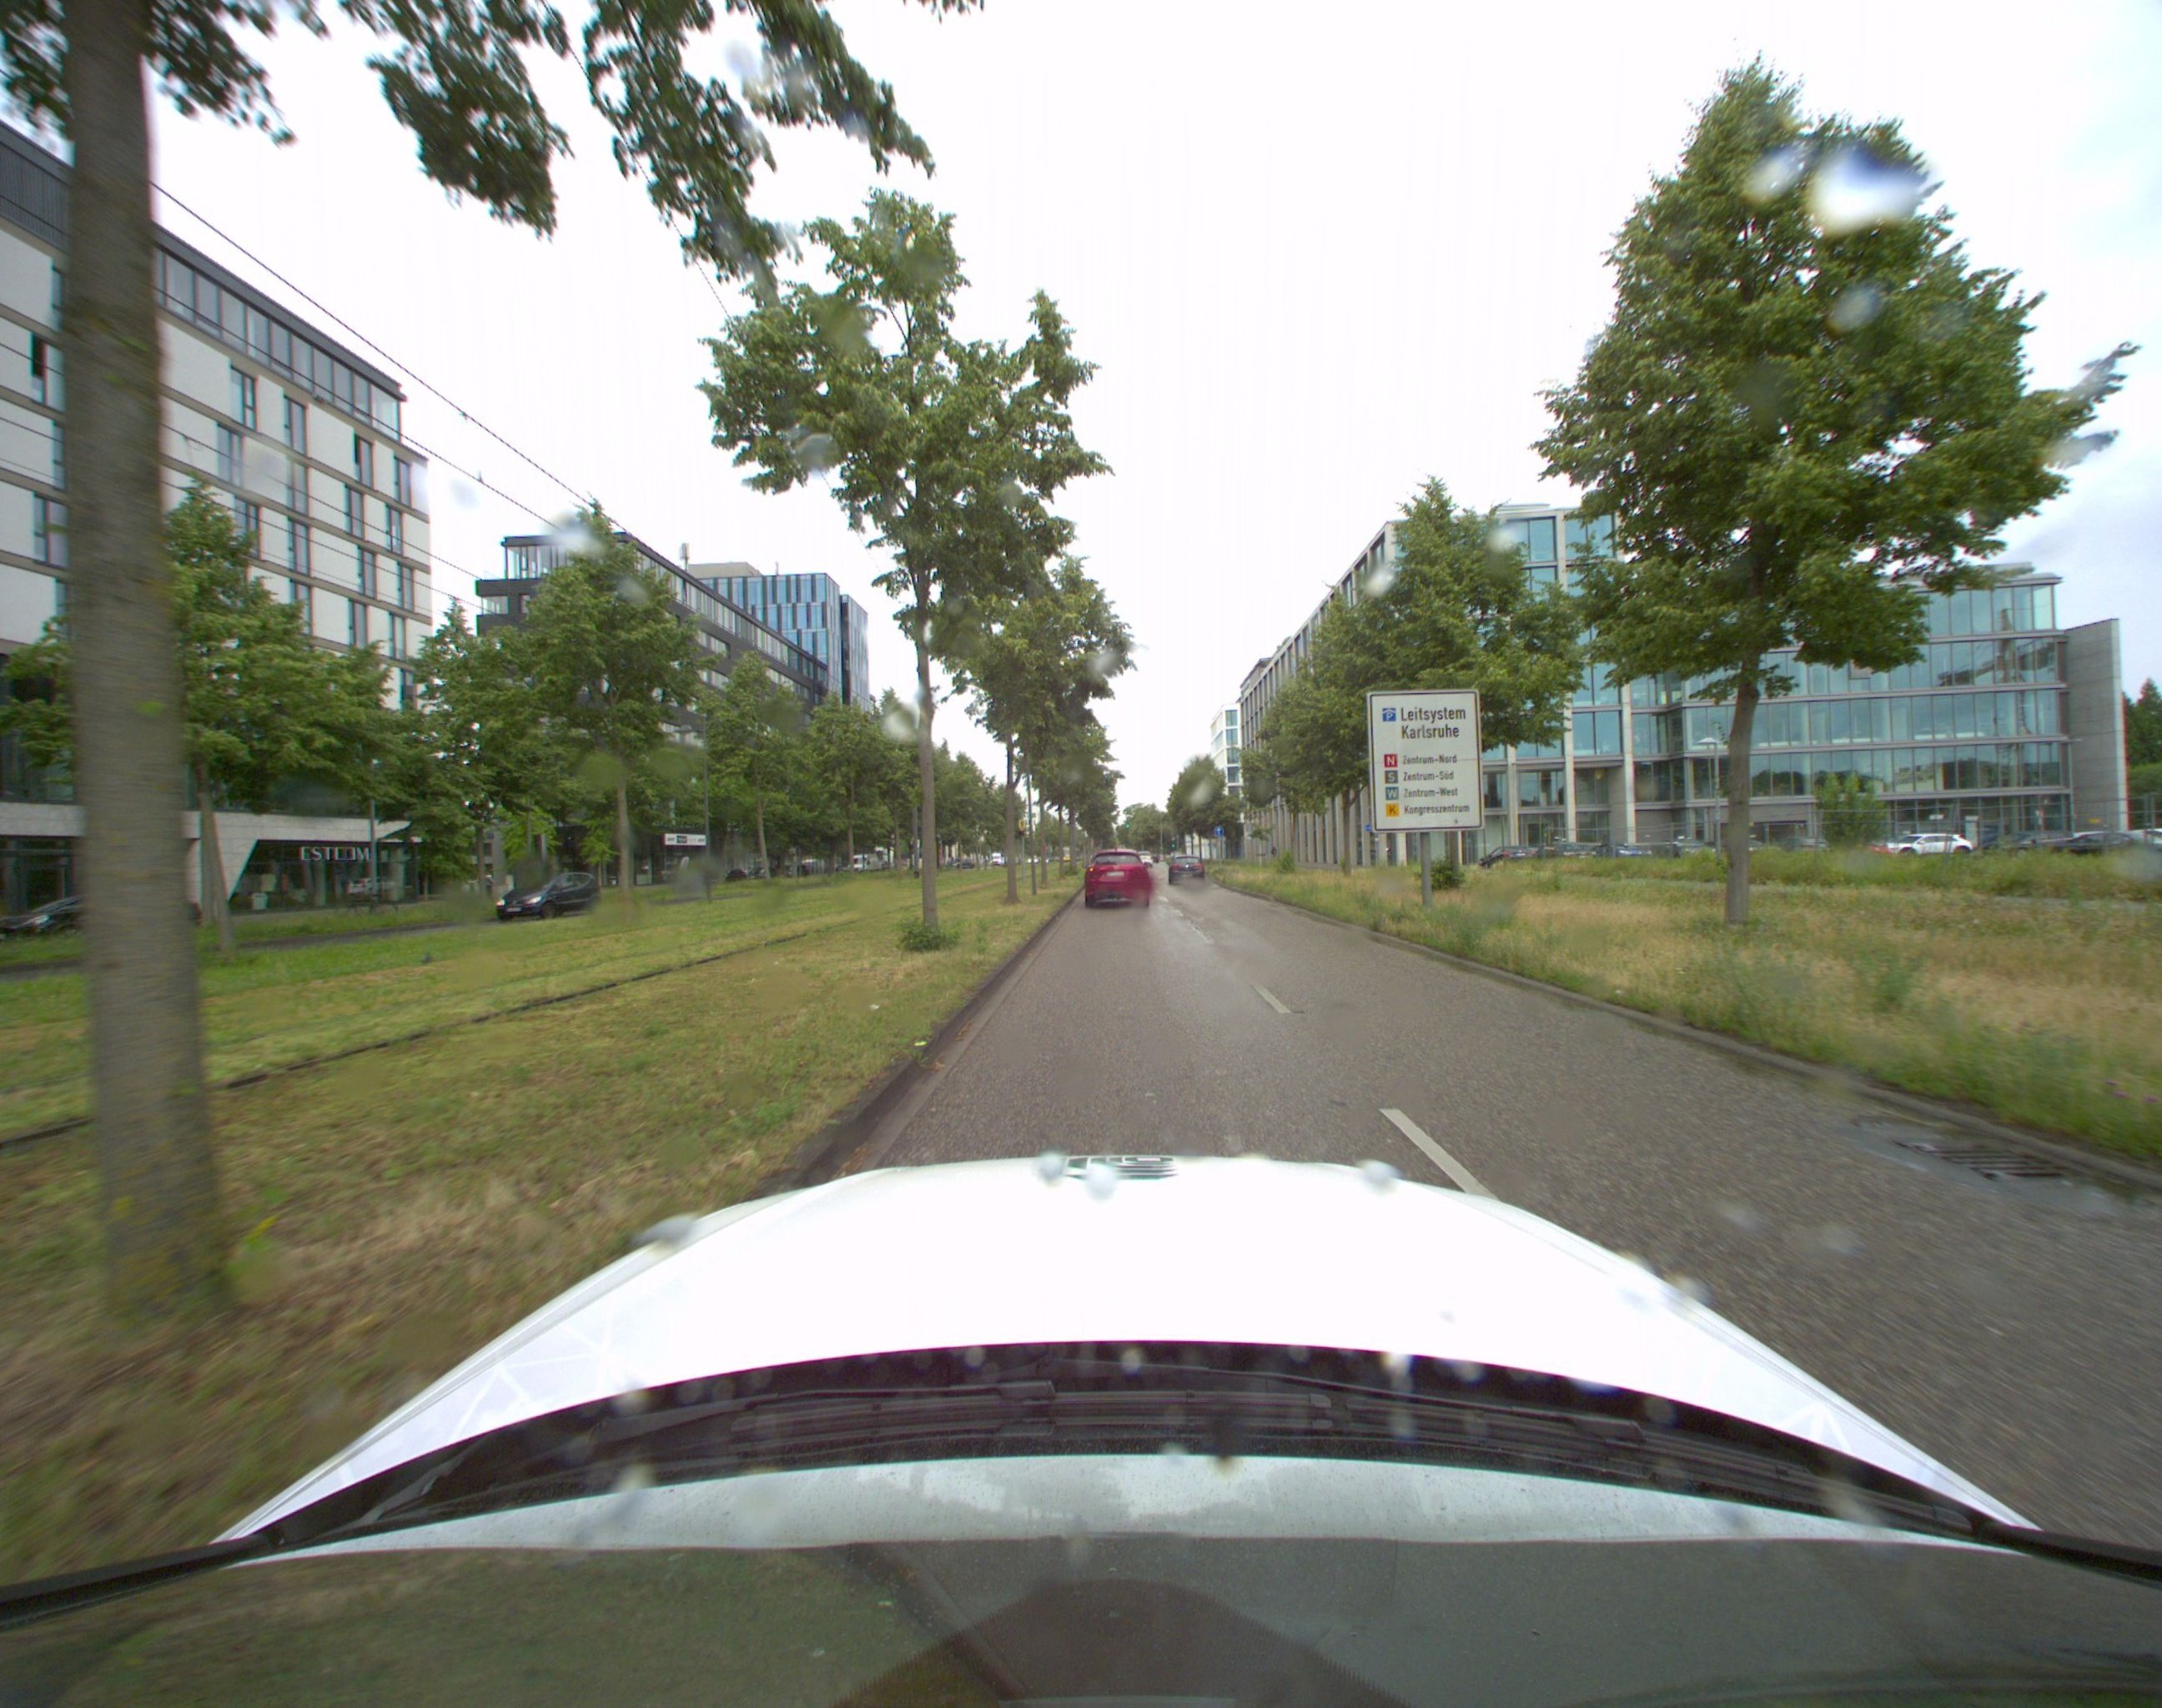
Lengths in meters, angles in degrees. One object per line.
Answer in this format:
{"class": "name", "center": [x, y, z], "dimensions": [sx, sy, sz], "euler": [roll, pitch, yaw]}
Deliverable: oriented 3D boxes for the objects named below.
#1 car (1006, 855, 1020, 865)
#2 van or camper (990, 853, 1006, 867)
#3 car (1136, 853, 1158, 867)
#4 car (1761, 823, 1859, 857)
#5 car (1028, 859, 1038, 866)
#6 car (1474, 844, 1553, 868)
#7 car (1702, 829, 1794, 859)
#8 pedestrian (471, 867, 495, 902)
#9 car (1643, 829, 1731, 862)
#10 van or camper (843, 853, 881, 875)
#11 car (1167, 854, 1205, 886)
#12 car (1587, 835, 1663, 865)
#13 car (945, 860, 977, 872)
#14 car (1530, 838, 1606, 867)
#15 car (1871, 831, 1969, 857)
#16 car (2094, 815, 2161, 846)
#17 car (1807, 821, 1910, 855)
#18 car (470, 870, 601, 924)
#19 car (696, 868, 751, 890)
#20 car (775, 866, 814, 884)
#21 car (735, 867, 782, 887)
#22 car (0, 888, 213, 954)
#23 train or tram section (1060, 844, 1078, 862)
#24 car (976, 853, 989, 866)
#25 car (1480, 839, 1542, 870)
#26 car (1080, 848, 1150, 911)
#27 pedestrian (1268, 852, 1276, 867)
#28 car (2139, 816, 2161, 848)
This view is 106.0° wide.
{"class": "car", "center": [-11.436, 0.987, 137.178], "dimensions": [1.855, 1.524, 4.482], "euler": [-2, 0, 3]}
{"class": "van or camper", "center": [-15.113, 1.122, 148.456], "dimensions": [1.901, 2.410, 5.406], "euler": [-2, 0, 3]}
{"class": "car", "center": [6.908, 0.580, 85.827], "dimensions": [1.960, 1.437, 4.553], "euler": [0, 0, 1]}
{"class": "car", "center": [37.878, -0.704, 42.447], "dimensions": [1.845, 1.601, 4.009], "euler": [-2, 0, 8]}
{"class": "car", "center": [-11.209, 2.027, 190.542], "dimensions": [1.703, 1.404, 4.002], "euler": [-2, 0, 2]}
{"class": "car", "center": [28.465, 0.132, 53.703], "dimensions": [4.195, 1.437, 1.985], "euler": [-2, 2, 7]}
{"class": "car", "center": [35.098, -0.504, 43.033], "dimensions": [1.776, 1.475, 4.239], "euler": [-2, 0, 8]}
{"class": "pedestrian", "center": [-35.648, 1.807, 48.552], "dimensions": [0.791, 1.981, 0.856], "euler": [-1, 0, 1]}
{"class": "car", "center": [32.587, -0.436, 43.965], "dimensions": [1.845, 1.601, 4.425], "euler": [-2, 0, 8]}
{"class": "van or camper", "center": [-24.479, 1.109, 91.395], "dimensions": [2.423, 2.315, 5.853], "euler": [-1, 0, 2]}
{"class": "car", "center": [5.171, 0.776, 40.394], "dimensions": [1.735, 1.465, 3.787], "euler": [-1, 0, 6]}
{"class": "car", "center": [29.383, -0.214, 44.143], "dimensions": [1.845, 1.455, 4.009], "euler": [-2, 0, 7]}
{"class": "car", "center": [-17.539, 1.757, 119.503], "dimensions": [1.974, 1.521, 4.711], "euler": [-2, 0, 33]}
{"class": "car", "center": [26.407, -0.075, 44.357], "dimensions": [1.845, 1.455, 4.567], "euler": [-2, 0, 8]}
{"class": "car", "center": [52.379, -0.624, 50.884], "dimensions": [3.965, 1.438, 1.865], "euler": [-2, 0, 7]}
{"class": "car", "center": [53.723, -1.187, 40.440], "dimensions": [1.849, 1.496, 4.031], "euler": [-2, 0, 0]}
{"class": "car", "center": [40.135, -0.808, 42.183], "dimensions": [1.845, 1.601, 4.009], "euler": [-2, 0, 8]}
{"class": "car", "center": [-19.226, 1.475, 28.929], "dimensions": [1.985, 1.656, 3.702], "euler": [-2, 0, 3]}
{"class": "car", "center": [-25.373, 1.767, 57.984], "dimensions": [1.986, 1.378, 4.002], "euler": [-1, 0, 2]}
{"class": "car", "center": [-24.839, 1.805, 70.702], "dimensions": [1.695, 1.449, 4.244], "euler": [-1, 0, 2]}
{"class": "car", "center": [-25.524, 1.804, 64.586], "dimensions": [1.986, 1.378, 4.002], "euler": [-1, 0, 2]}
{"class": "car", "center": [-27.079, 1.791, 22.483], "dimensions": [1.848, 1.465, 3.990], "euler": [-2, 0, 2]}
{"class": "train or tram section", "center": [-2.580, -0.230, 176.357], "dimensions": [3.117, 3.659, 13.413], "euler": [-2, 0, 2]}
{"class": "car", "center": [-19.871, 1.045, 164.320], "dimensions": [2.250, 2.561, 4.651], "euler": [-1, 0, -2]}
{"class": "car", "center": [23.671, -0.003, 44.989], "dimensions": [1.844, 1.581, 4.011], "euler": [-2, 0, 9]}
{"class": "car", "center": [1.001, 0.697, 24.320], "dimensions": [1.891, 1.677, 4.002], "euler": [-1, 0, 2]}
{"class": "pedestrian", "center": [23.318, 0.680, 99.398], "dimensions": [0.714, 1.714, 0.861], "euler": [-3, 0, 1]}
{"class": "car", "center": [49.850, -1.046, 35.738], "dimensions": [1.689, 1.446, 4.035], "euler": [-2, 0, 3]}
